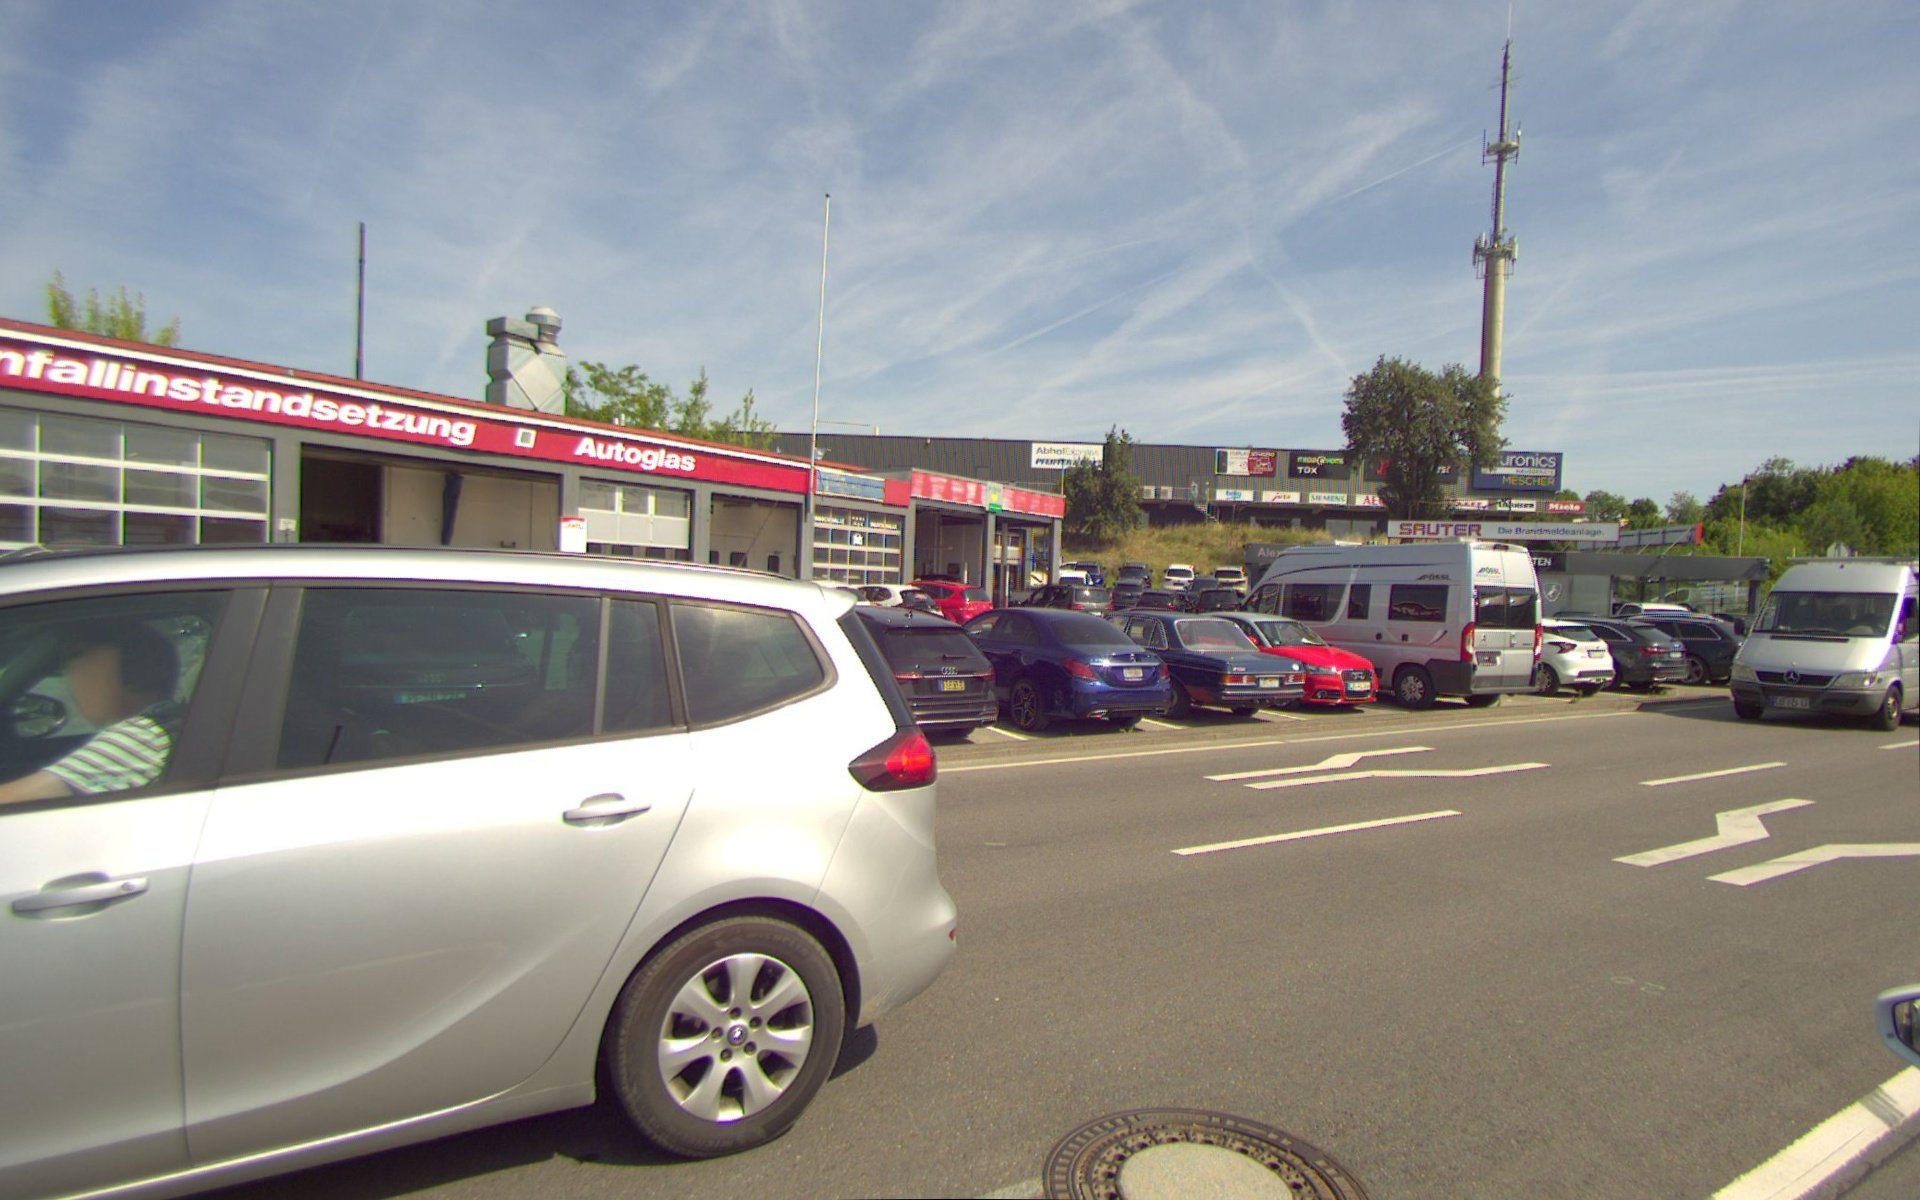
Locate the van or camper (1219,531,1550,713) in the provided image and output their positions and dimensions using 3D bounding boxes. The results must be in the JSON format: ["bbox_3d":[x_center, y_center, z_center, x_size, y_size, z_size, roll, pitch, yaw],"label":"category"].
[{"bbox_3d":[7.362,0.313,18.106,2.184,2.768,5.221,1,0,-29],"label":"van or camper"}]

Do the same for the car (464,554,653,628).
[{"bbox_3d":[-9.960,-0.178,25.080,3.987,1.694,1.888,1,0,-43],"label":"car"}]

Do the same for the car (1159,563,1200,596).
[{"bbox_3d":[11.438,-1.061,52.219,1.702,1.558,3.749,2,0,18],"label":"car"}]

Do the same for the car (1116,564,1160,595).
[{"bbox_3d":[9.383,-1.070,52.756,1.702,1.470,3.749,2,0,18],"label":"car"}]

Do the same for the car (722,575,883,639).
[{"bbox_3d":[-3.902,0.156,24.686,3.767,1.451,1.763,1,0,37],"label":"car"}]

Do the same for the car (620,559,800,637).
[{"bbox_3d":[-5.527,-0.045,22.024,3.887,1.553,1.763,1,0,37],"label":"car"}]

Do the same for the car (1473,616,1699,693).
[{"bbox_3d":[13.550,1.122,21.949,1.822,1.467,3.796,1,0,-31],"label":"car"}]

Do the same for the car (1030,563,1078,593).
[{"bbox_3d":[5.103,-1.155,54.126,1.702,1.470,3.749,2,0,18],"label":"car"}]

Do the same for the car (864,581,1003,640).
[{"bbox_3d":[-0.799,0.283,29.252,3.767,1.609,1.763,1,0,37],"label":"car"}]

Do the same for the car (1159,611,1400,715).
[{"bbox_3d":[5.185,0.957,16.710,1.791,1.500,3.577,1,-1,-30],"label":"car"}]

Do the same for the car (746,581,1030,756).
[{"bbox_3d":[-1.034,0.670,12.051,1.782,1.505,3.822,1,4,-32],"label":"car"}]

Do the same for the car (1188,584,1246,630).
[{"bbox_3d":[9.551,0.255,37.511,1.733,1.609,3.831,1,0,9],"label":"car"}]

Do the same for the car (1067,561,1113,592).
[{"bbox_3d":[6.961,-1.240,53.528,1.702,1.470,3.749,2,0,18],"label":"car"}]

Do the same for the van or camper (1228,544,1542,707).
[{"bbox_3d":[8.614,0.414,21.071,2.263,2.912,5.863,0,1,-30],"label":"van or camper"}]

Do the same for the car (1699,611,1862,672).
[{"bbox_3d":[25.167,1.210,30.990,1.806,1.716,3.828,1,0,-2],"label":"car"}]

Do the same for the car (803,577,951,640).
[{"bbox_3d":[-2.283,0.206,27.174,3.767,1.609,1.763,1,0,37],"label":"car"}]

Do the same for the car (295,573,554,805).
[{"bbox_3d":[-5.243,0.640,9.789,1.777,1.505,4.276,1,4,-30],"label":"car"}]

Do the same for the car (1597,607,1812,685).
[{"bbox_3d":[17.985,1.056,24.428,1.822,1.697,3.796,1,0,-31],"label":"car"}]

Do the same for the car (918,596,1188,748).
[{"bbox_3d":[1.082,0.812,13.353,1.689,1.577,3.687,0,3,-32],"label":"car"}]

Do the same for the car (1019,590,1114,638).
[{"bbox_3d":[3.749,0.477,35.952,1.744,1.609,3.808,1,0,-23],"label":"car"}]

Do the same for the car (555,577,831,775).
[{"bbox_3d":[-3.205,0.654,11.291,1.752,1.505,4.433,1,4,-32],"label":"car"}]

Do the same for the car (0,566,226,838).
[{"bbox_3d":[-7.306,0.613,8.178,1.816,1.505,4.252,1,4,-32],"label":"car"}]

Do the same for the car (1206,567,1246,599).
[{"bbox_3d":[13.683,-0.859,51.530,1.702,1.470,3.749,2,0,18],"label":"car"}]

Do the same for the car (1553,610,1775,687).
[{"bbox_3d":[16.075,1.044,23.120,1.822,1.560,3.796,1,0,-31],"label":"car"}]

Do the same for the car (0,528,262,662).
[{"bbox_3d":[-13.048,-0.080,14.776,1.797,1.696,4.115,8,3,34],"label":"car"}]

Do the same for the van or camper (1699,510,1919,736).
[{"bbox_3d":[14.595,0.359,16.179,5.833,3.097,2.196,1,0,-31],"label":"van or camper"}]

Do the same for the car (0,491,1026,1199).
[{"bbox_3d":[-2.046,0.655,2.911,4.131,1.685,1.900,1,-1,-30],"label":"car"}]

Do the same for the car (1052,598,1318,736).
[{"bbox_3d":[3.184,0.875,14.887,1.689,1.505,3.686,1,4,-32],"label":"car"}]

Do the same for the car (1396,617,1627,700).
[{"bbox_3d":[11.282,1.138,20.780,1.822,1.467,3.796,1,0,-31],"label":"car"}]
